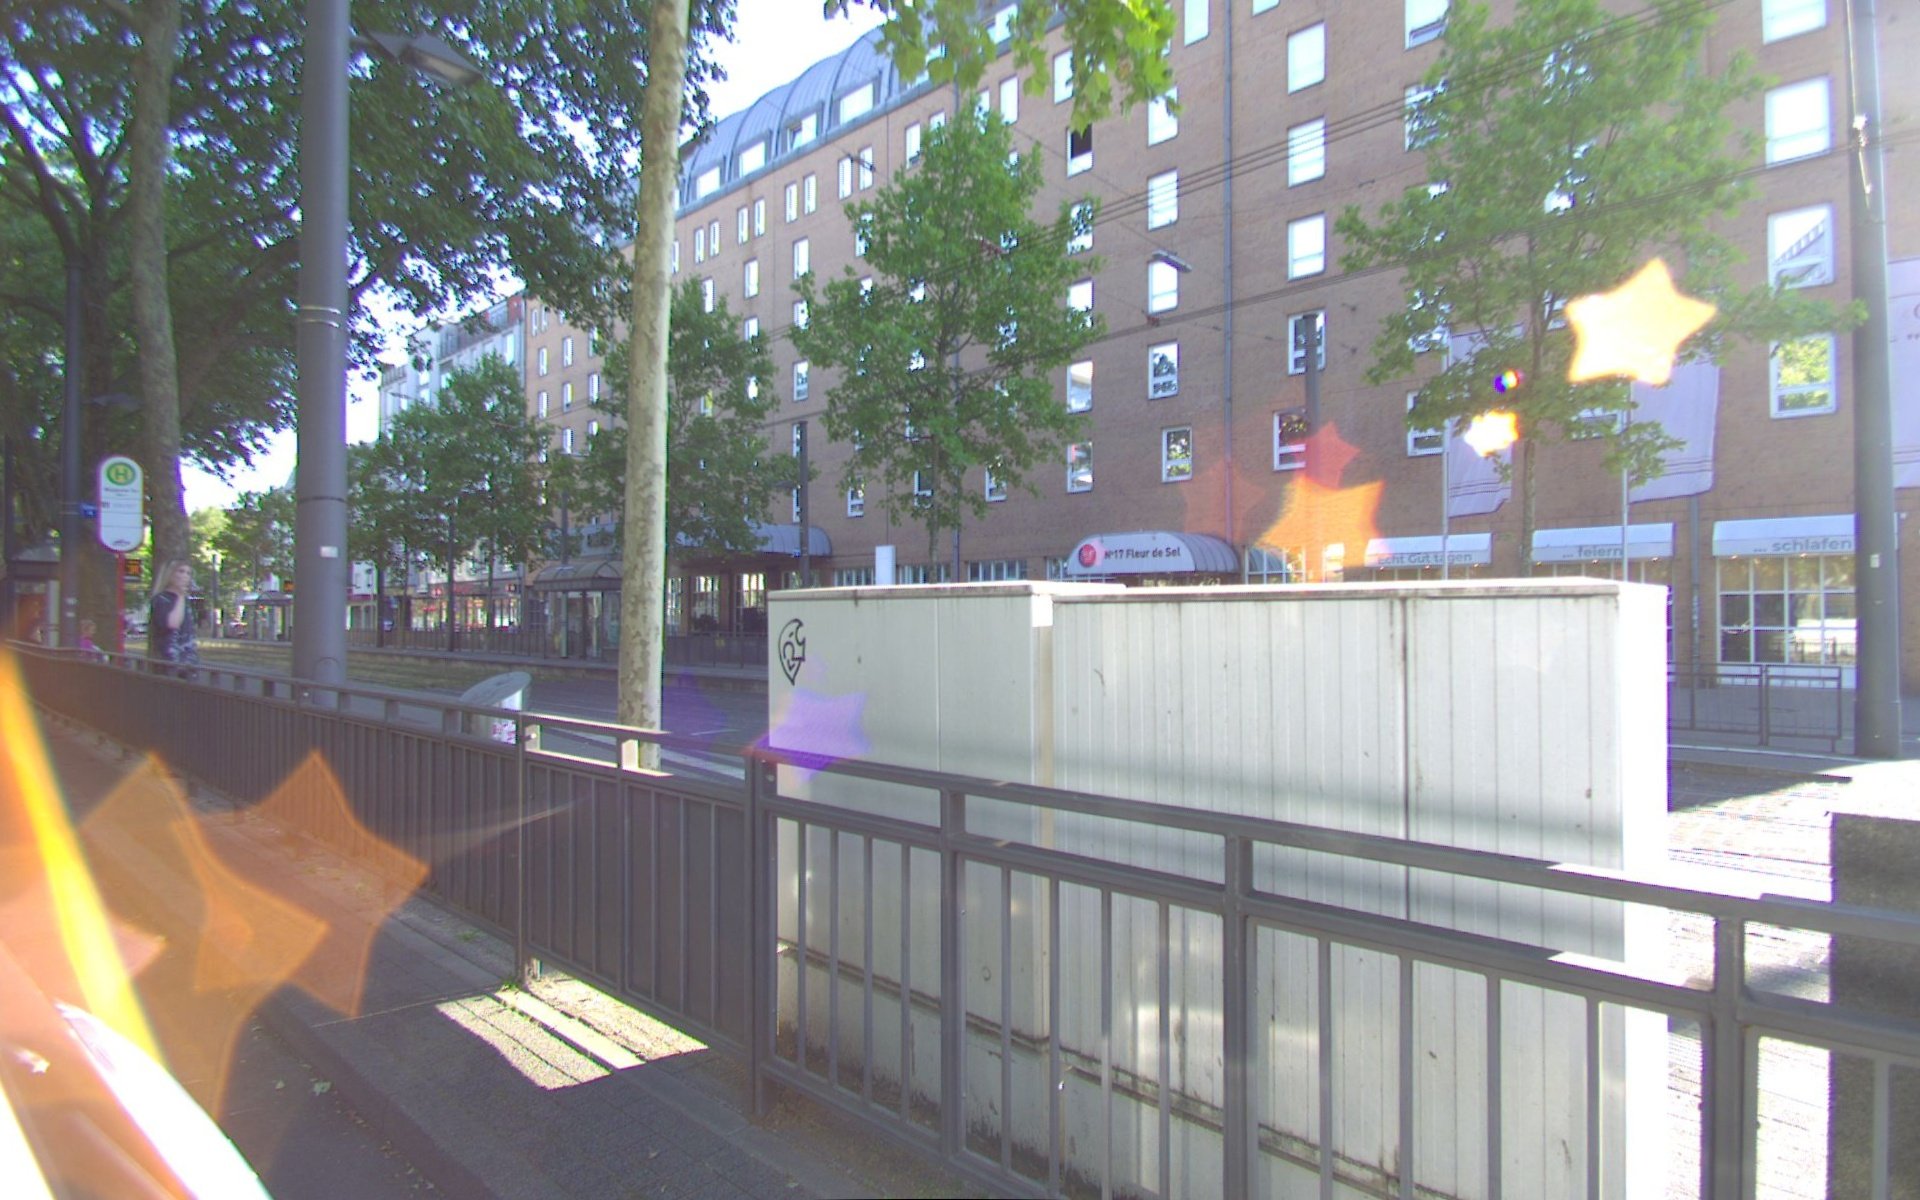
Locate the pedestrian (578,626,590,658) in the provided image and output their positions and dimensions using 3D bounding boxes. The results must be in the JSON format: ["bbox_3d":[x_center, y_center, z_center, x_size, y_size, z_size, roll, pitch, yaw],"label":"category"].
[{"bbox_3d":[-18.244,2.037,49.117,0.431,1.518,0.660,1,-2,-27],"label":"pedestrian"}]

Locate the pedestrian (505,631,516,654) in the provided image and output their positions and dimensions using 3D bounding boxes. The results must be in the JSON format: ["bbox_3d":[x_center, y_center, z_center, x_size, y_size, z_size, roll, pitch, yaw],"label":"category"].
[{"bbox_3d":[-28.668,2.684,64.564,0.516,1.447,0.512,-2,-2,44],"label":"pedestrian"}]

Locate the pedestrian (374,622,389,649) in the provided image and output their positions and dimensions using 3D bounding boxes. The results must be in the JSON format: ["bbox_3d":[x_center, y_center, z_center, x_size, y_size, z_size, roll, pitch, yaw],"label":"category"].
[{"bbox_3d":[-44.204,2.718,77.298,0.763,2.029,0.796,-2,-2,41],"label":"pedestrian"}]

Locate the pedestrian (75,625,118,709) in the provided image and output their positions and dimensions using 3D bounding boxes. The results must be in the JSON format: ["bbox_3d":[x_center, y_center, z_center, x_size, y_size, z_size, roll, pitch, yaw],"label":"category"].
[{"bbox_3d":[-13.958,1.065,16.356,0.493,1.325,0.419,1,-2,-41],"label":"pedestrian"}]

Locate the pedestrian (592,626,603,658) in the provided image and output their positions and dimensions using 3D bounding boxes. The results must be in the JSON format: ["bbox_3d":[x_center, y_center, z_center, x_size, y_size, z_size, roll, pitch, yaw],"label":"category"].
[{"bbox_3d":[-17.700,2.033,49.379,0.431,1.532,0.660,1,-2,-27],"label":"pedestrian"}]

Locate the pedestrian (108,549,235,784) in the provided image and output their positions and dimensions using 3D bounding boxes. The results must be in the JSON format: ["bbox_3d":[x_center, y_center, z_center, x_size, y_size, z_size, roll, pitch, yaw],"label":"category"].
[{"bbox_3d":[-6.653,0.528,8.553,0.619,1.897,0.602,1,0,22],"label":"pedestrian"}]
